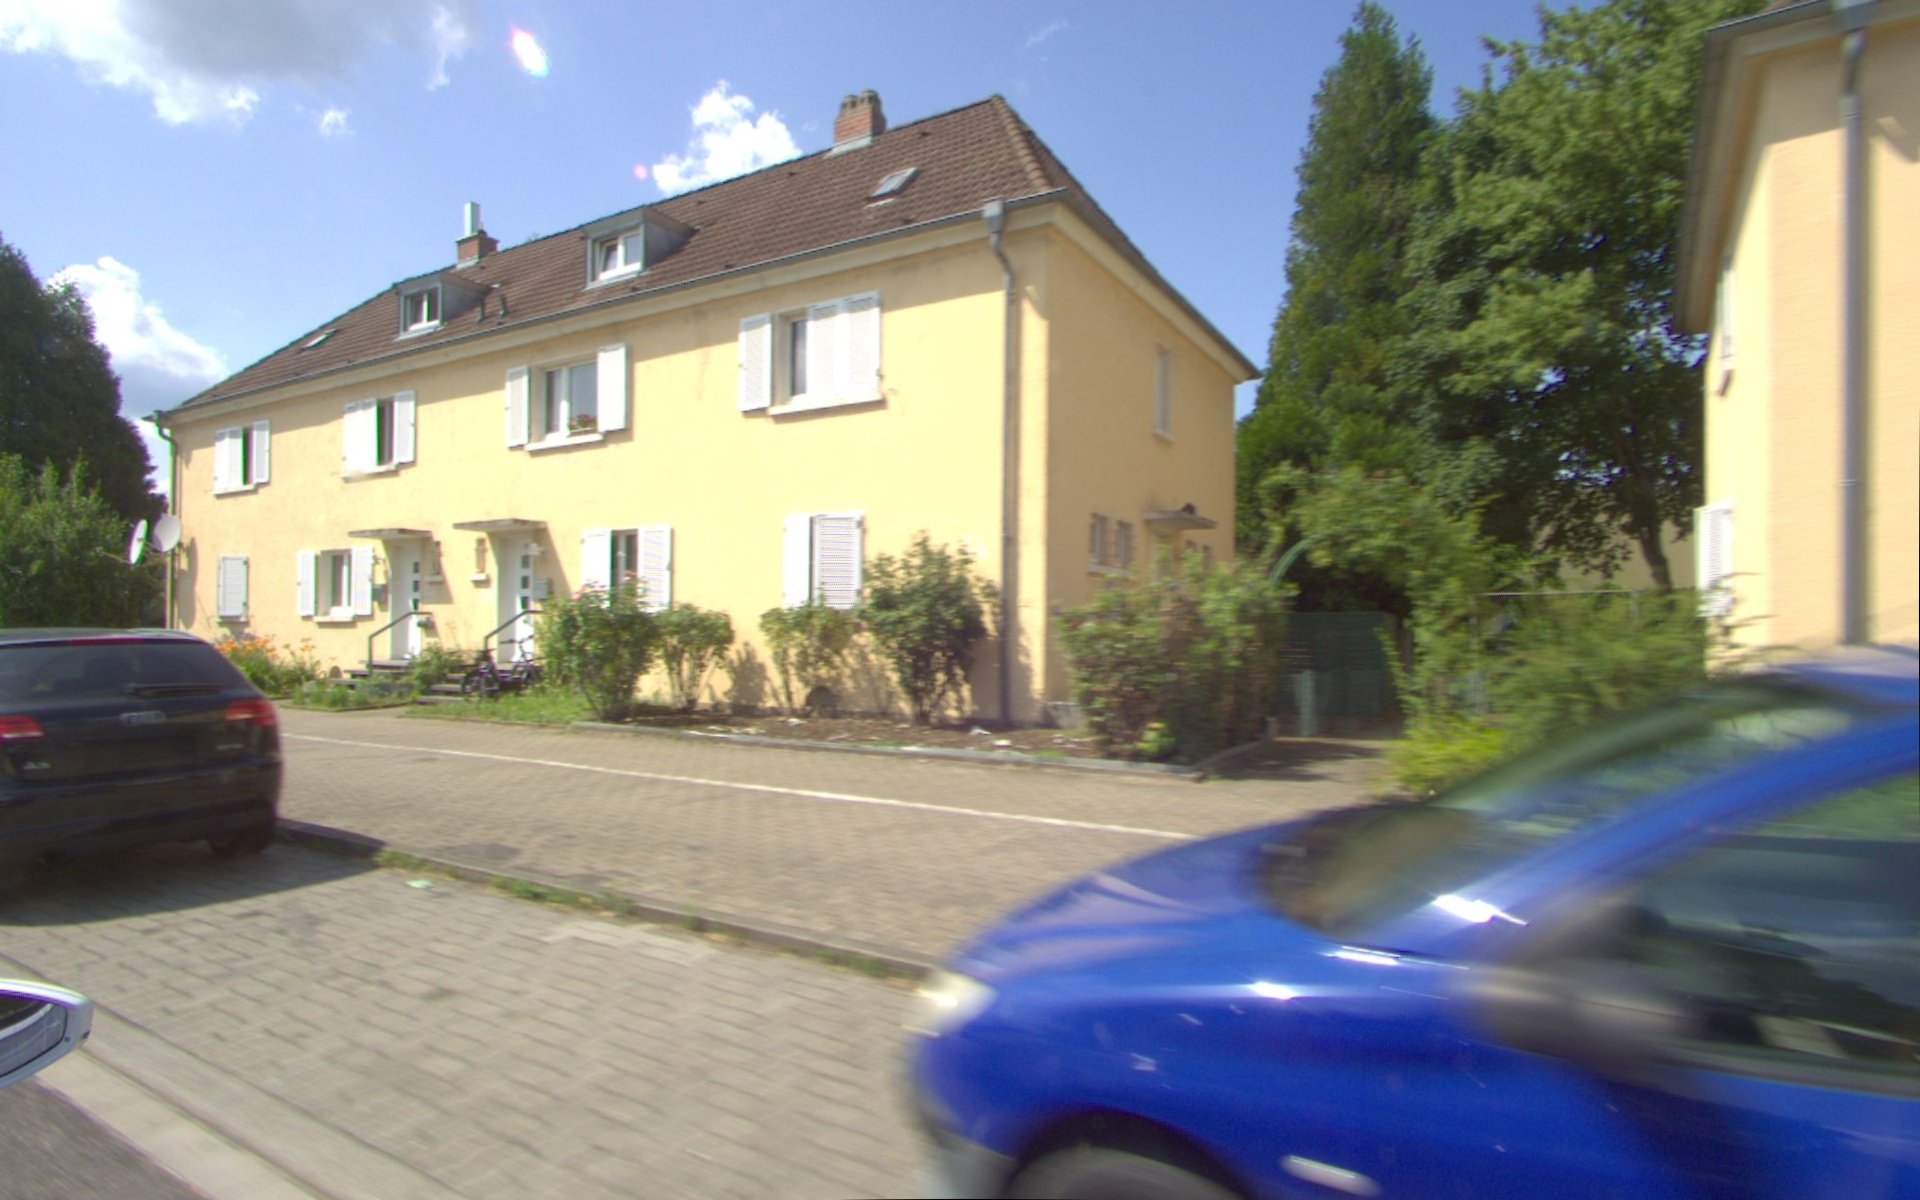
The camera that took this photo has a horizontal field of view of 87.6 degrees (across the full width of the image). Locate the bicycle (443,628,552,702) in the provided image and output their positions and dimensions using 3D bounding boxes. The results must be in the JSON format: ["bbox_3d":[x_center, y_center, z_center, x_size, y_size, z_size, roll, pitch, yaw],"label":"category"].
[{"bbox_3d":[-7.333,1.021,15.968,0.286,1.116,1.688,0,-3,31],"label":"bicycle"}]

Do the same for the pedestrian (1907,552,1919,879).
[{"bbox_3d":[5.162,0.578,4.717,0.888,1.660,0.614,-1,-1,32],"label":"pedestrian"}]

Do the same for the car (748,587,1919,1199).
[{"bbox_3d":[1.621,0.726,1.783,3.843,1.447,1.694,-1,-2,32],"label":"car"}]

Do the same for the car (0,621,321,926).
[{"bbox_3d":[-6.178,0.905,6.483,4.452,1.455,1.682,-2,-2,32],"label":"car"}]

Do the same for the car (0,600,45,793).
[{"bbox_3d":[-10.283,0.839,9.187,4.208,1.651,1.677,-1,-1,31],"label":"car"}]
